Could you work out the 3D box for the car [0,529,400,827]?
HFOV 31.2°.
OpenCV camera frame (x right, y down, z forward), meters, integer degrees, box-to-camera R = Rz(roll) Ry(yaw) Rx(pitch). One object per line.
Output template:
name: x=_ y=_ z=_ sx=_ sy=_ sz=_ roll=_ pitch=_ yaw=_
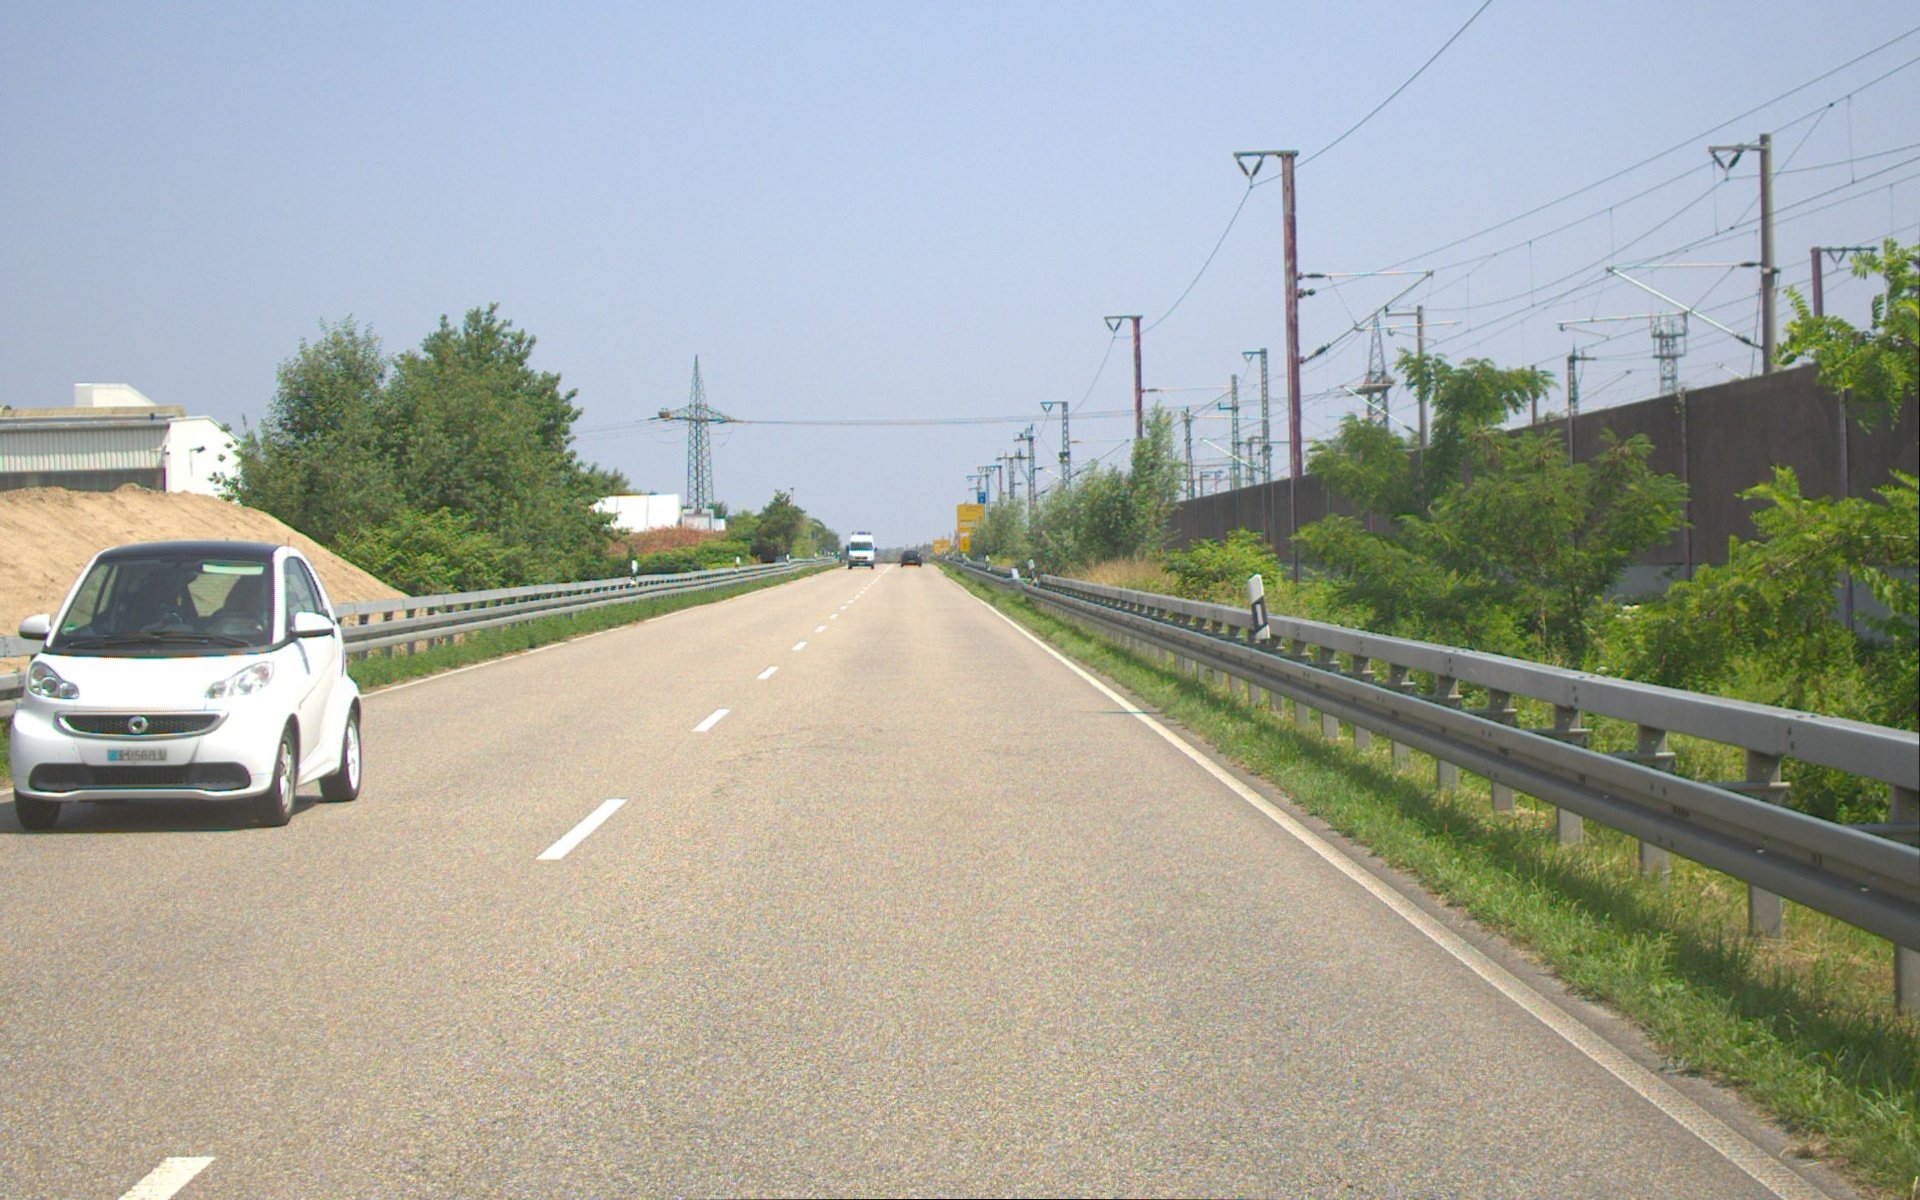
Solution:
car: x=-4.364 y=0.376 z=20.199 sx=1.595 sy=1.571 sz=3.828 roll=0 pitch=1 yaw=-1
